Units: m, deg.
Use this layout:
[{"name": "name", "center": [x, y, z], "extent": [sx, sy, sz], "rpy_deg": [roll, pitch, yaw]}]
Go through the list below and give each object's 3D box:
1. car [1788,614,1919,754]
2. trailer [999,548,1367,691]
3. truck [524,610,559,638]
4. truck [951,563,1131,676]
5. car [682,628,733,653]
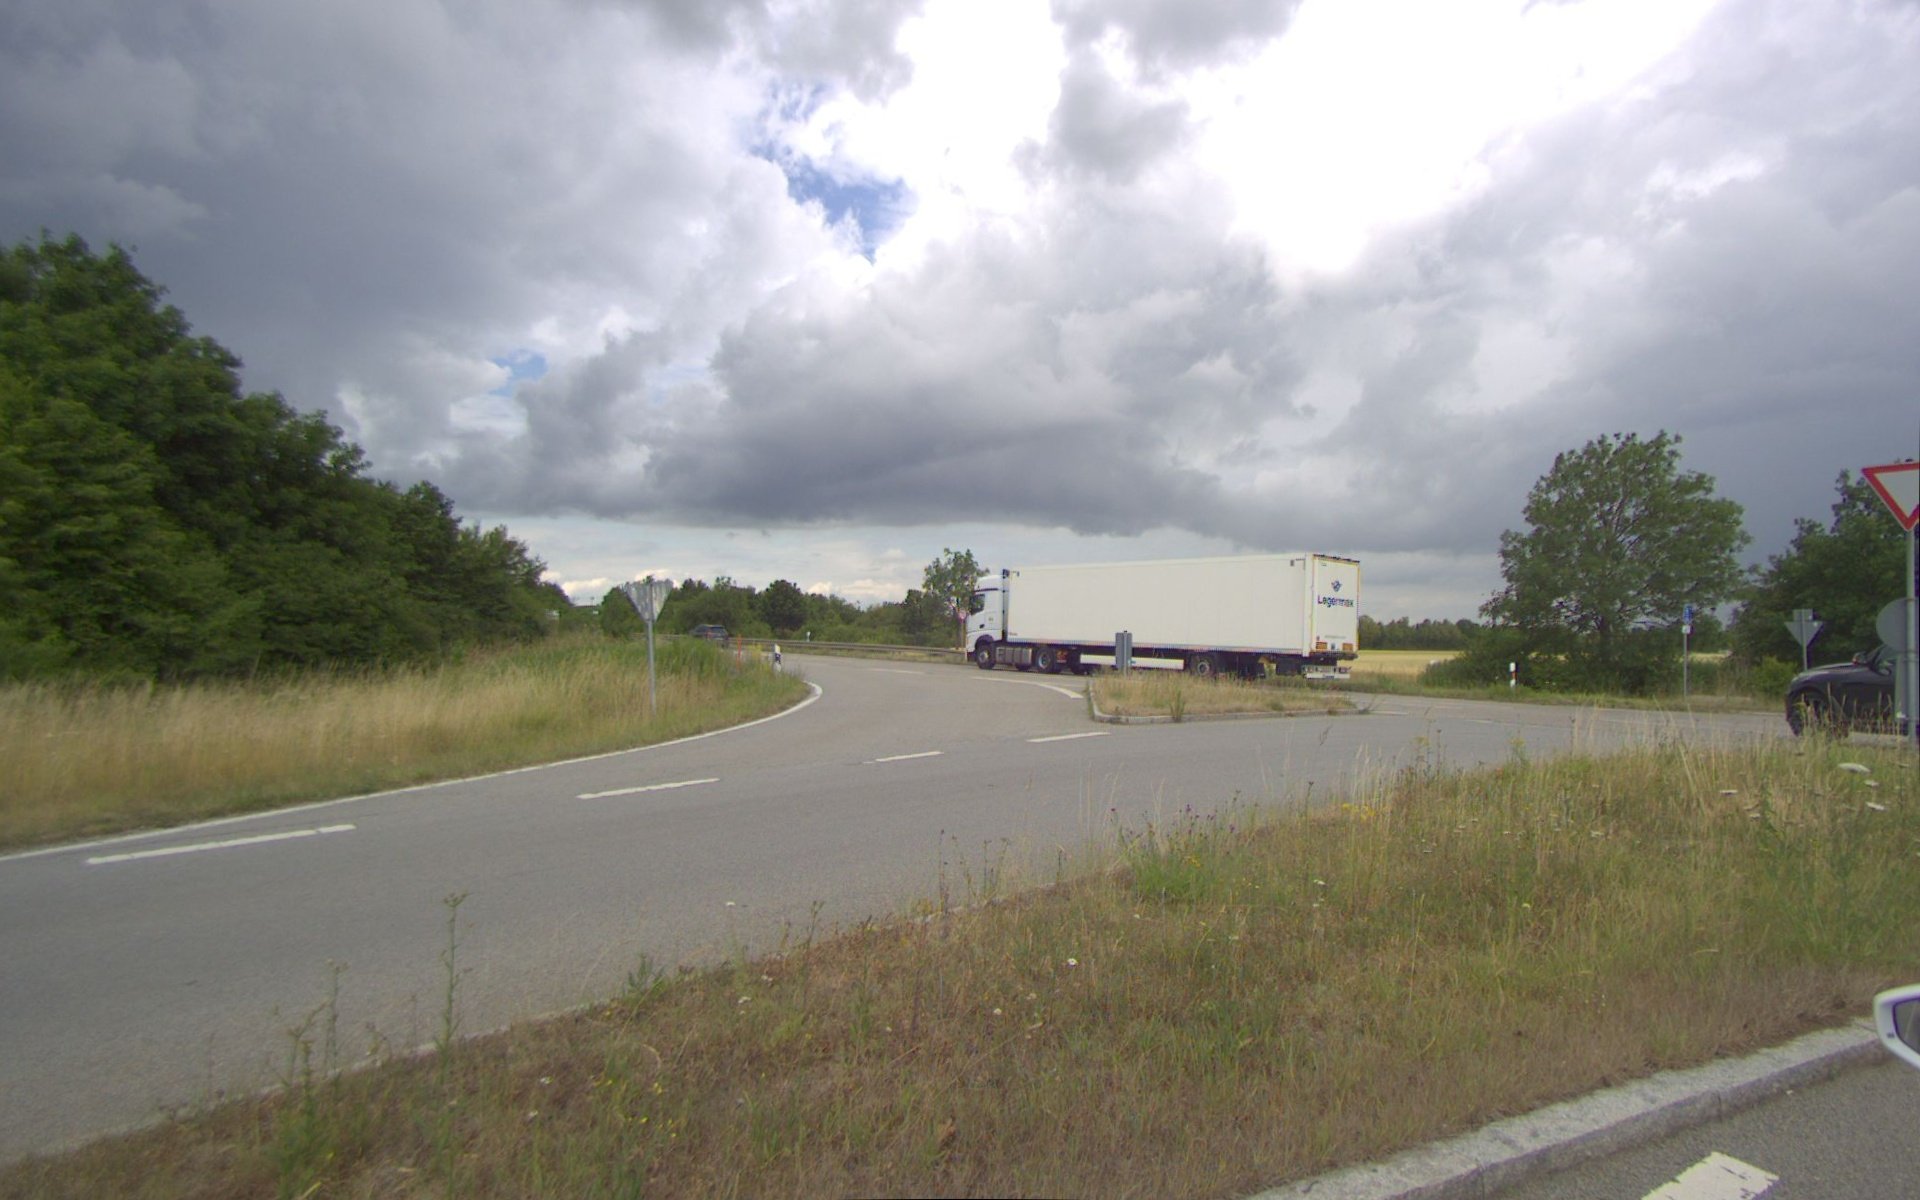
[{"name": "car", "center": [13.302, 1.101, 12.763], "extent": [1.960, 1.798, 4.647], "rpy_deg": [1, -2, 4]}, {"name": "trailer", "center": [6.940, 0.745, 34.903], "extent": [3.100, 4.066, 13.741], "rpy_deg": [4, -3, -37]}, {"name": "truck", "center": [-41.542, 2.404, 99.642], "extent": [2.045, 2.738, 5.986], "rpy_deg": [1, -2, -35]}, {"name": "truck", "center": [3.056, 0.830, 40.068], "extent": [3.101, 4.066, 7.231], "rpy_deg": [4, -3, -37]}, {"name": "car", "center": [-16.846, 2.711, 66.829], "extent": [1.980, 1.622, 4.184], "rpy_deg": [1, -3, -35]}]
